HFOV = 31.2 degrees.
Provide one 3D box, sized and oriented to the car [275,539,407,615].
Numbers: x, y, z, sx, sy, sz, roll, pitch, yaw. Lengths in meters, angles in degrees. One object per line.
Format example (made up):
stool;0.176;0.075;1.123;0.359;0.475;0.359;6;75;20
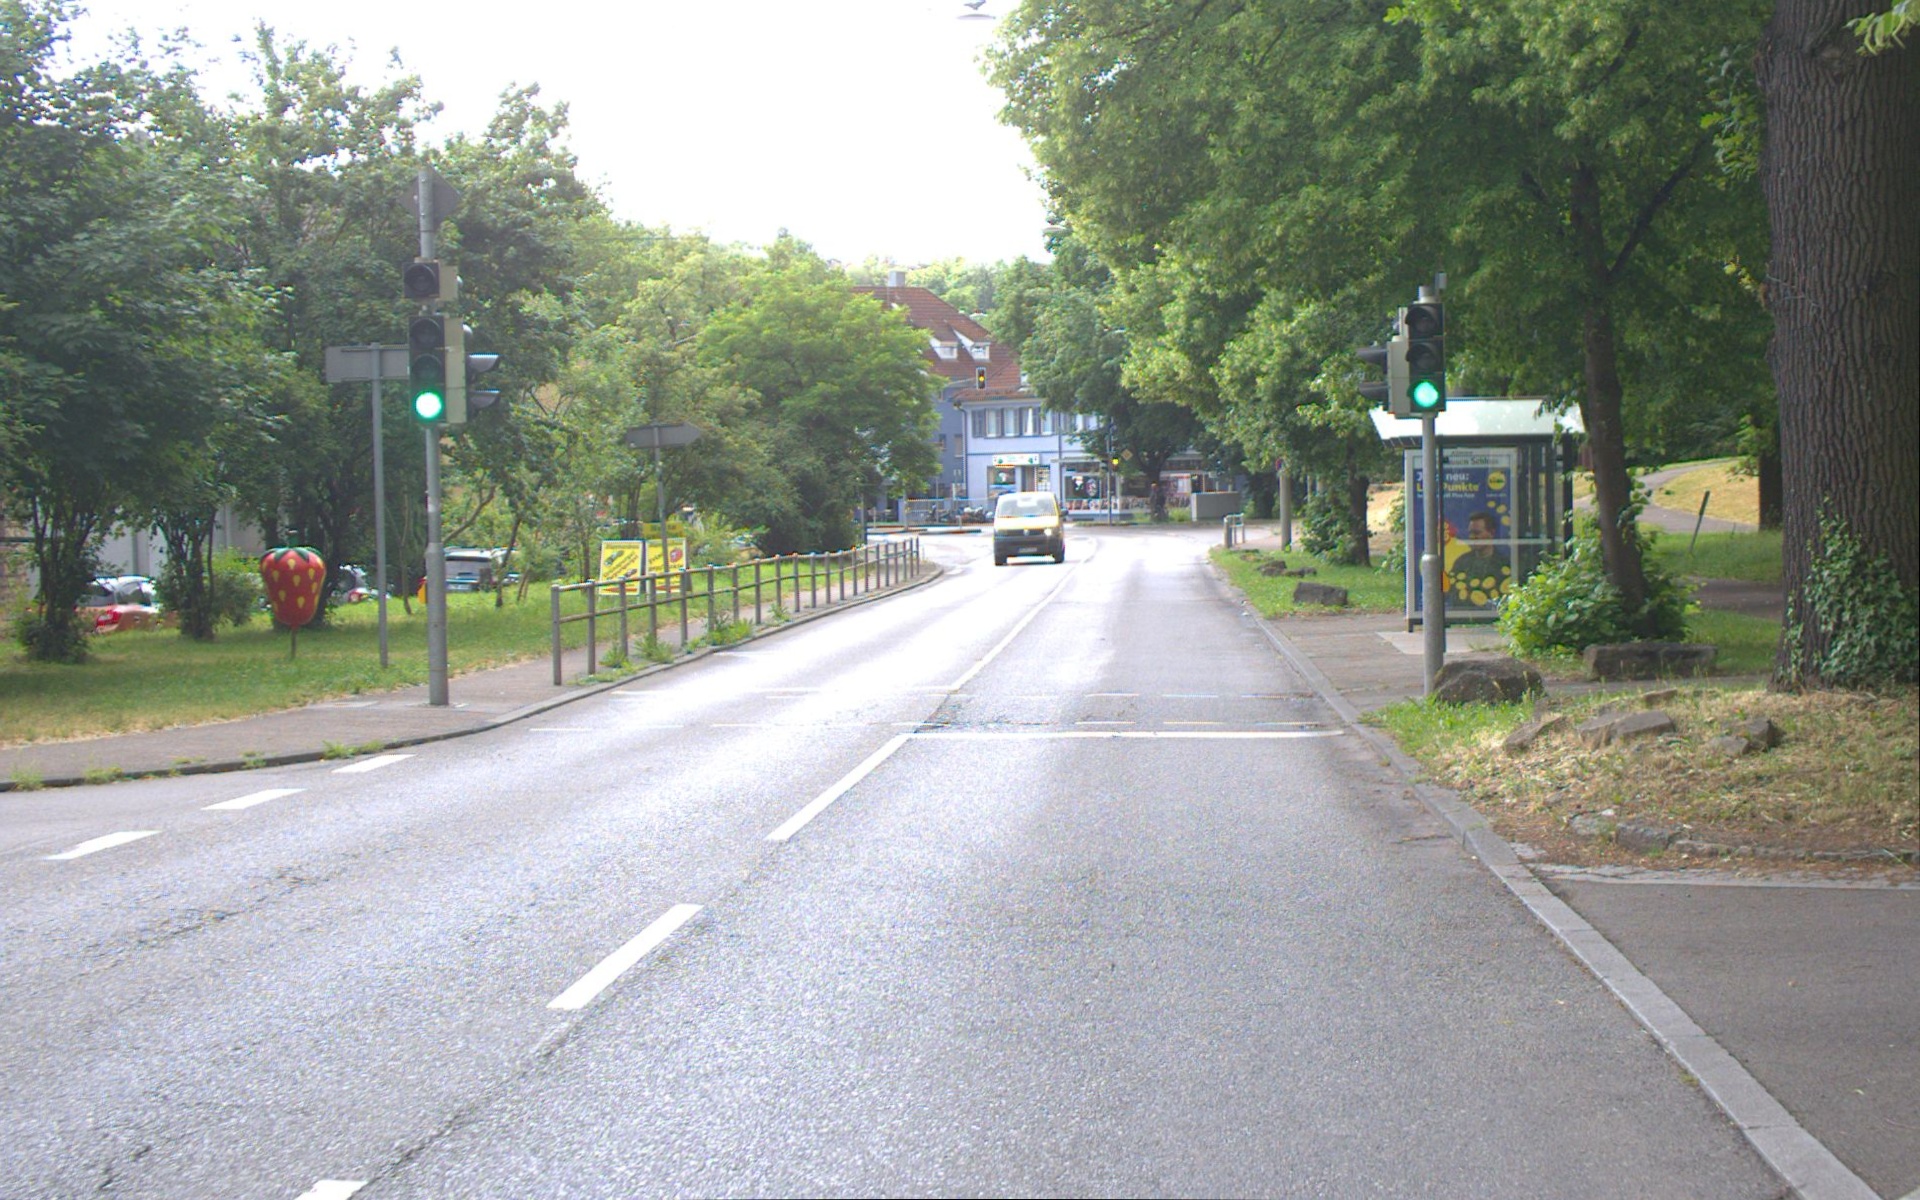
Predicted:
car;-11.302;-0.428;62.914;1.553;1.273;2.553;-2;1;9

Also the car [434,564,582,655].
car;-9.387;0.172;71.709;1.921;1.689;3.999;-2;1;9

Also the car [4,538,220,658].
car;-12.660;-0.058;51.567;1.812;1.612;3.999;-3;1;6

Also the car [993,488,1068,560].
car;1.978;-2.098;95.012;1.846;1.924;4.769;-1;1;3
